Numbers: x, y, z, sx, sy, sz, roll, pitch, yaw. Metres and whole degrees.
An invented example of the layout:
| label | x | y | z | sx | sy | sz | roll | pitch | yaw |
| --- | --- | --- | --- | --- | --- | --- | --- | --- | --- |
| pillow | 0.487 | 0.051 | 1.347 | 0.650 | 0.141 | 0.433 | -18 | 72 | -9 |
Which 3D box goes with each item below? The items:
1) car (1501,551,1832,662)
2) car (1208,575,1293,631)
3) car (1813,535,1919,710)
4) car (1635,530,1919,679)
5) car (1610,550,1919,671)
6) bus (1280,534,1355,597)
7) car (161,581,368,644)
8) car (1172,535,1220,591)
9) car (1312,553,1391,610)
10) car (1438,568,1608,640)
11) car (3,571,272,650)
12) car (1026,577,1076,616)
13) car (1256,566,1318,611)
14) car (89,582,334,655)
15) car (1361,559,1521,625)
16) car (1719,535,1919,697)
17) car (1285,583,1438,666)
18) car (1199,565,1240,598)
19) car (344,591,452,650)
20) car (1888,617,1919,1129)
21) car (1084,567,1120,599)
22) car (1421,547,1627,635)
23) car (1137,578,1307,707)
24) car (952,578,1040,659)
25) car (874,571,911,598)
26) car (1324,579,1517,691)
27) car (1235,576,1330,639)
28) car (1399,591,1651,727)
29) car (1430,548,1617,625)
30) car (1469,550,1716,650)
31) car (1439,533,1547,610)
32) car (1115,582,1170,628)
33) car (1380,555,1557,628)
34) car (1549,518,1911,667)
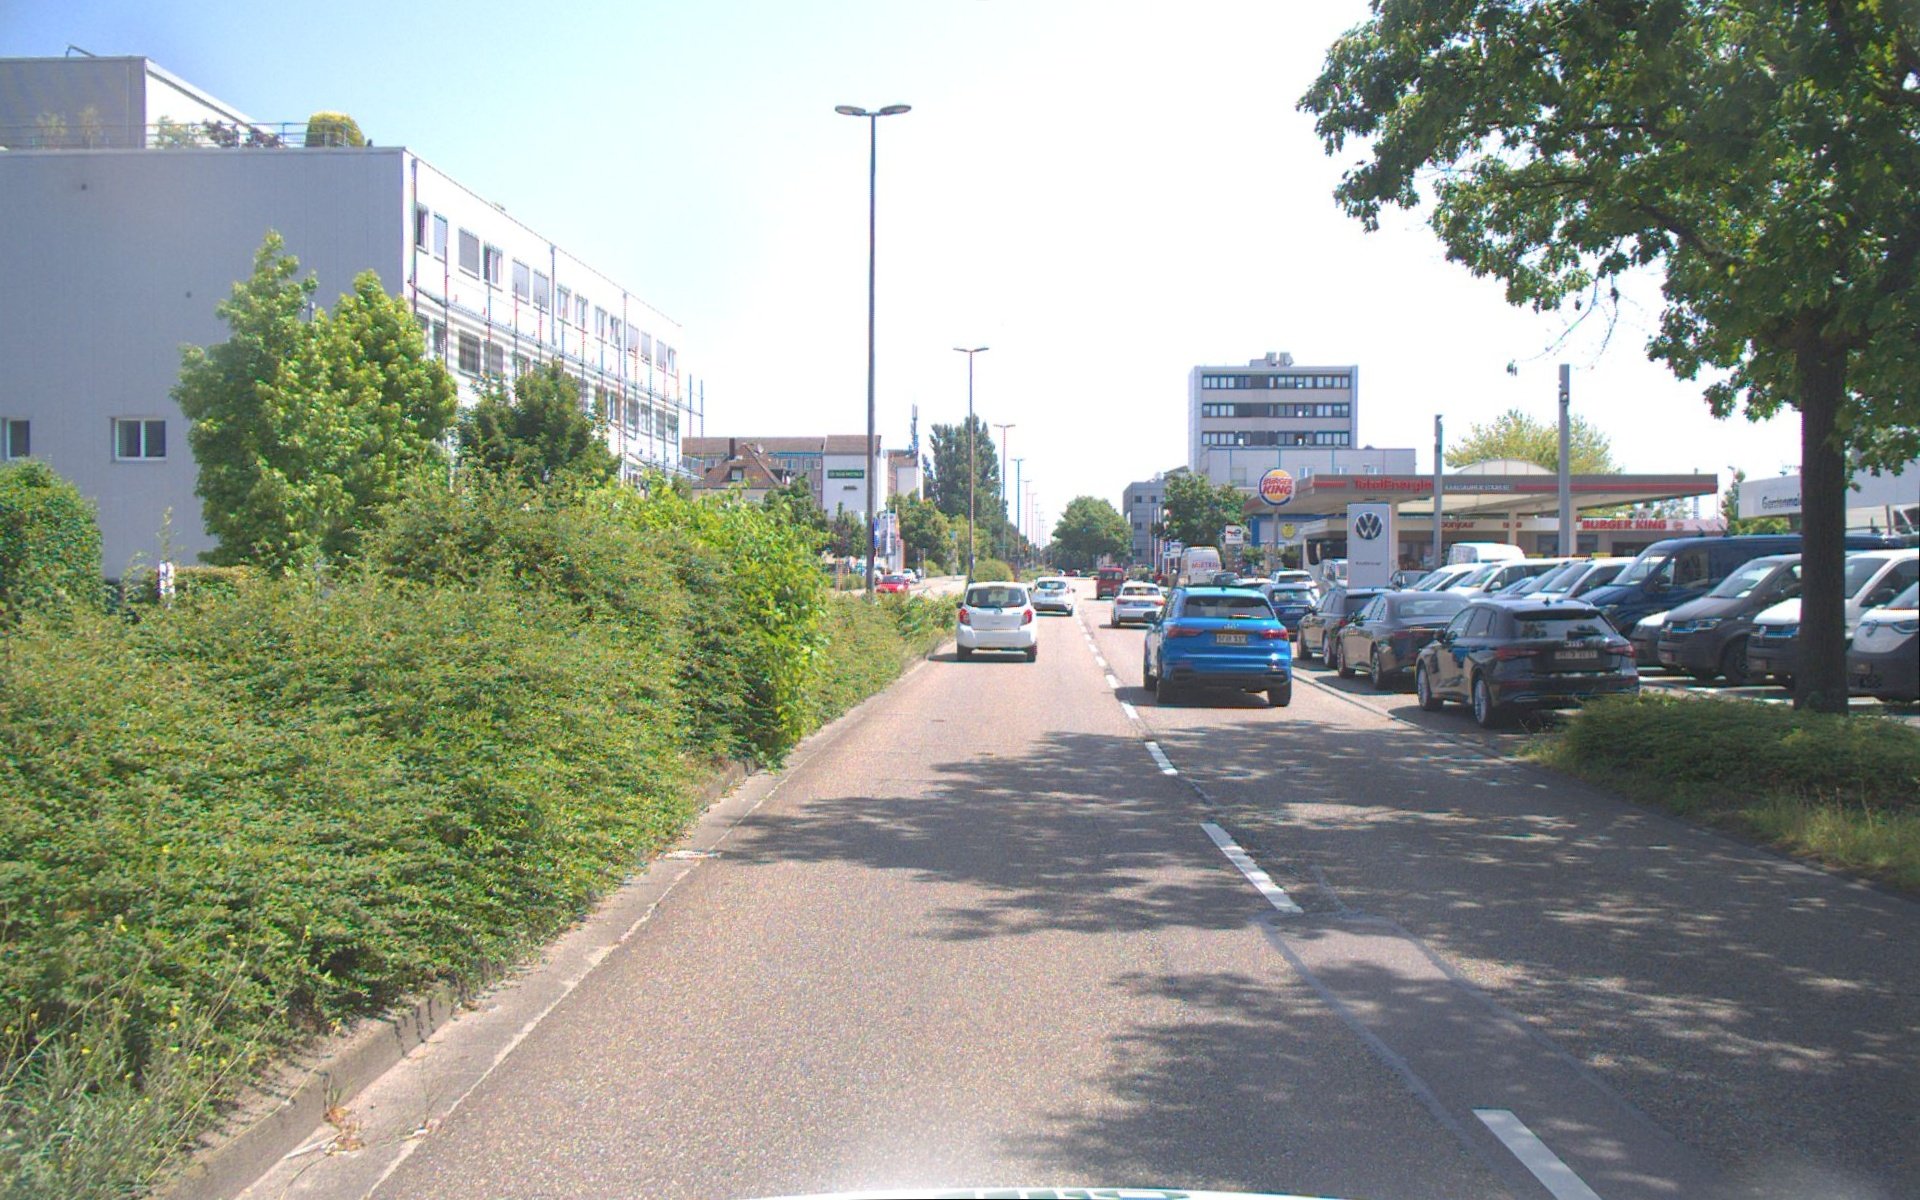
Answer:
| label | x | y | z | sx | sy | sz | roll | pitch | yaw |
| --- | --- | --- | --- | --- | --- | --- | --- | --- | --- |
| car | 14.278 | 0.110 | 33.758 | 5.769 | 2.049 | 2.261 | 1 | 0 | 5 |
| car | 8.685 | 0.064 | 49.806 | 1.697 | 1.579 | 4.179 | 1 | 1 | -2 |
| car | 13.327 | 0.168 | 20.389 | 4.415 | 2.049 | 2.199 | -3 | -1 | 4 |
| car | 13.408 | 0.029 | 25.908 | 4.797 | 2.151 | 2.130 | -1 | 1 | 2 |
| car | 13.765 | 0.156 | 28.329 | 4.473 | 1.883 | 1.952 | -1 | 1 | 2 |
| bus | 19.165 | -1.944 | 89.347 | 2.745 | 3.132 | 12.296 | 1 | 2 | 7 |
| car | -15.430 | 0.262 | 36.821 | 3.758 | 1.252 | 1.860 | -1 | 1 | 2 |
| car | 13.488 | -2.121 | 94.897 | 2.089 | 2.888 | 7.314 | -5 | 1 | 5 |
| car | 14.831 | -0.717 | 62.946 | 1.952 | 2.058 | 5.162 | 1 | 1 | 2 |
| car | 13.345 | 0.087 | 39.386 | 3.553 | 1.598 | 1.718 | 1 | 1 | 9 |
| car | -15.583 | 0.173 | 31.510 | 4.063 | 1.365 | 2.043 | -1 | 1 | 1 |
| car | 3.544 | -0.122 | 64.990 | 1.792 | 1.475 | 4.001 | 1 | 0 | 1 |
| car | 12.444 | -0.461 | 63.139 | 1.632 | 1.623 | 4.615 | -1 | 1 | 3 |
| car | -15.471 | 0.365 | 34.325 | 4.135 | 1.372 | 1.981 | -1 | 1 | 2 |
| car | 14.578 | -0.259 | 50.311 | 4.321 | 1.915 | 1.910 | -1 | 1 | 2 |
| car | 13.729 | 0.155 | 23.442 | 4.959 | 2.133 | 2.041 | -2 | 0 | 2 |
| car | 7.912 | 0.429 | 33.093 | 1.816 | 1.507 | 5.156 | 0 | 1 | 0 |
| car | 12.761 | -0.945 | 81.452 | 1.622 | 1.545 | 3.822 | -1 | 1 | 3 |
| car | -16.096 | 0.559 | 47.565 | 1.625 | 1.493 | 3.799 | -2 | 1 | 2 |
| car | 3.547 | 0.810 | 3.035 | 1.567 | 1.450 | 3.660 | 1 | 1 | -1 |
| car | 8.107 | -0.948 | 94.765 | 1.757 | 1.759 | 3.973 | 1 | 0 | 1 |
| car | 14.268 | -0.255 | 42.023 | 4.544 | 2.048 | 1.961 | -2 | 1 | 1 |
| car | 3.663 | 0.547 | 23.869 | 1.873 | 1.625 | 4.397 | 2 | 0 | 2 |
| car | 0.716 | 0.386 | 33.654 | 1.677 | 1.537 | 3.247 | 1 | -1 | 0 |
| car | -3.714 | -0.854 | 91.466 | 1.596 | 1.449 | 3.452 | -2 | 0 | 4 |
| car | 7.393 | 0.486 | 27.106 | 1.920 | 1.556 | 5.163 | -2 | 1 | 3 |
| car | 8.593 | 0.176 | 44.426 | 1.678 | 1.575 | 4.791 | -1 | 0 | 1 |
| car | 6.802 | 0.642 | 20.415 | 1.647 | 1.460 | 4.440 | -1 | 0 | 1 |
| car | 14.165 | -0.326 | 41.768 | 4.064 | 1.812 | 1.882 | -1 | -1 | 2 |
| car | 13.958 | -0.034 | 36.740 | 4.686 | 2.018 | 2.005 | 1 | 3 | 3 |
| car | 20.163 | -1.103 | 62.937 | 2.208 | 2.722 | 7.021 | -1 | 1 | 3 |
| car | 5.857 | 0.171 | 53.403 | 1.632 | 1.424 | 3.795 | 1 | 0 | 4 |
| car | 14.418 | -0.224 | 47.073 | 4.461 | 1.921 | 1.857 | -2 | -1 | 2 |
| car | 14.283 | -0.132 | 30.996 | 5.719 | 2.568 | 2.206 | 1 | -1 | 5 |
